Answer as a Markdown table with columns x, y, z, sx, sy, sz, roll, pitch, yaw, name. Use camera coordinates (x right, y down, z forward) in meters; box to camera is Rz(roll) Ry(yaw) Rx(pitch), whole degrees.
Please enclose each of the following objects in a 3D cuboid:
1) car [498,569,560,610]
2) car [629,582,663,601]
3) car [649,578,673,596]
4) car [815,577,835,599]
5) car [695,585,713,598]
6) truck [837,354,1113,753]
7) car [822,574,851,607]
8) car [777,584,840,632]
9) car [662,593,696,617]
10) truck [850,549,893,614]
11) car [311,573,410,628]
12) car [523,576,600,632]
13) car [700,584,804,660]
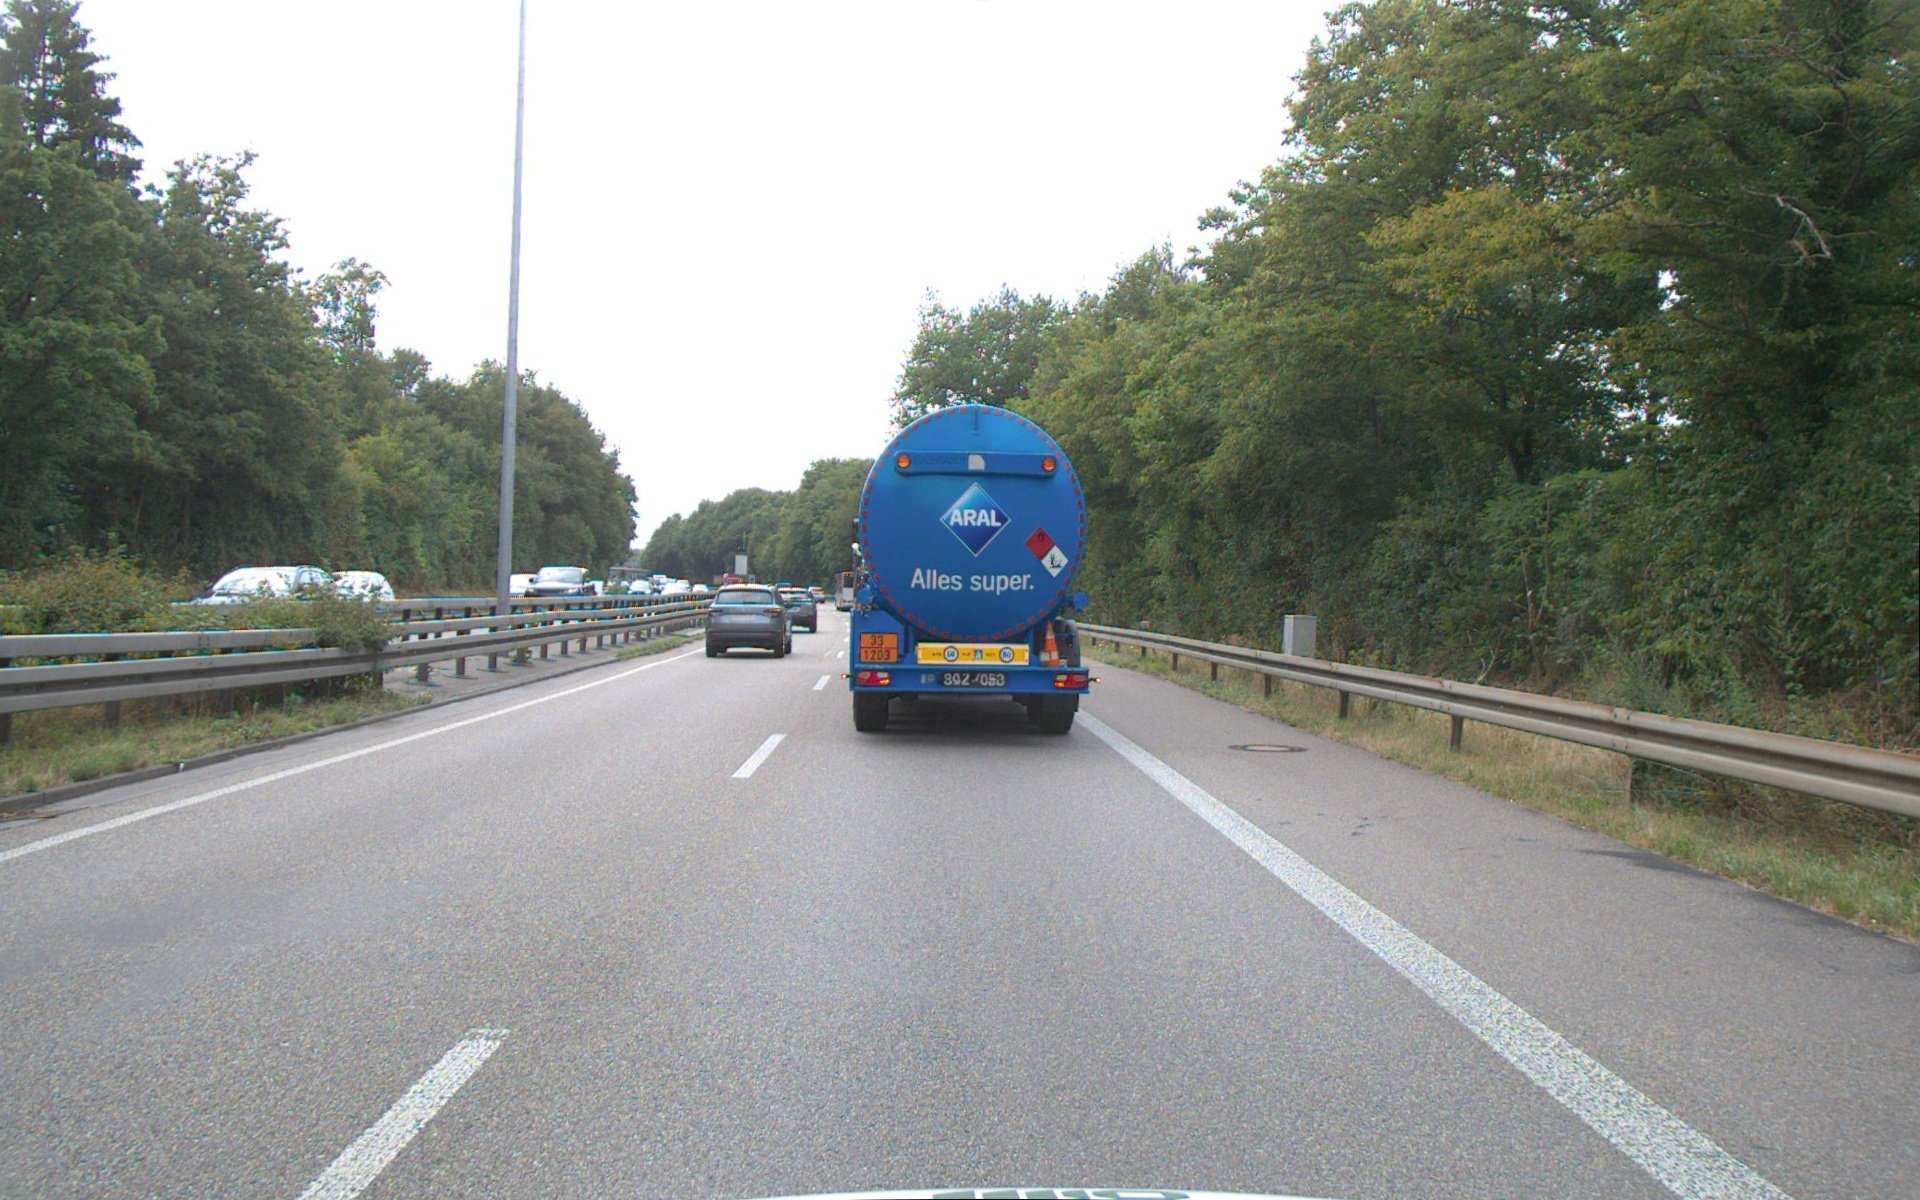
| x | y | z | sx | sy | sz | roll | pitch | yaw | name |
| --- | --- | --- | --- | --- | --- | --- | --- | --- | --- |
| -17.967 | -0.429 | 69.143 | 1.696 | 1.629 | 4.129 | 1 | 0 | -3 | car |
| -22.314 | -0.611 | 117.705 | 1.939 | 1.322 | 4.064 | 1 | 0 | -5 | car |
| -31.094 | -1.305 | 172.173 | 1.995 | 1.835 | 5.118 | 1 | 0 | -4 | car |
| -14.213 | -1.218 | 174.038 | 1.955 | 2.284 | 3.996 | 1 | 0 | -5 | car |
| -29.700 | -0.974 | 191.731 | 1.622 | 1.300 | 4.708 | 3 | 0 | -4 | car |
| -0.013 | -0.447 | 20.193 | 2.700 | 3.914 | 7.684 | 1 | 0 | -3 | truck |
| -8.833 | -0.666 | 118.183 | 1.954 | 2.284 | 3.996 | 1 | 0 | -5 | car |
| -5.377 | 0.294 | 59.044 | 1.788 | 1.637 | 4.168 | 1 | 0 | 1 | car |
| -17.853 | 0.303 | 105.089 | 1.678 | 1.452 | 4.054 | 1 | 0 | -4 | car |
| -4.590 | -0.881 | 84.778 | 1.954 | 3.147 | 7.807 | 1 | 0 | -5 | truck |
| -17.258 | 0.019 | 47.757 | 1.596 | 1.534 | 3.726 | 1 | 0 | -2 | car |
| -14.070 | 0.136 | 58.597 | 1.756 | 1.868 | 4.953 | 1 | 0 | -3 | car |
| -4.703 | 0.477 | 37.957 | 1.788 | 1.637 | 4.168 | 1 | 0 | 1 | car |
